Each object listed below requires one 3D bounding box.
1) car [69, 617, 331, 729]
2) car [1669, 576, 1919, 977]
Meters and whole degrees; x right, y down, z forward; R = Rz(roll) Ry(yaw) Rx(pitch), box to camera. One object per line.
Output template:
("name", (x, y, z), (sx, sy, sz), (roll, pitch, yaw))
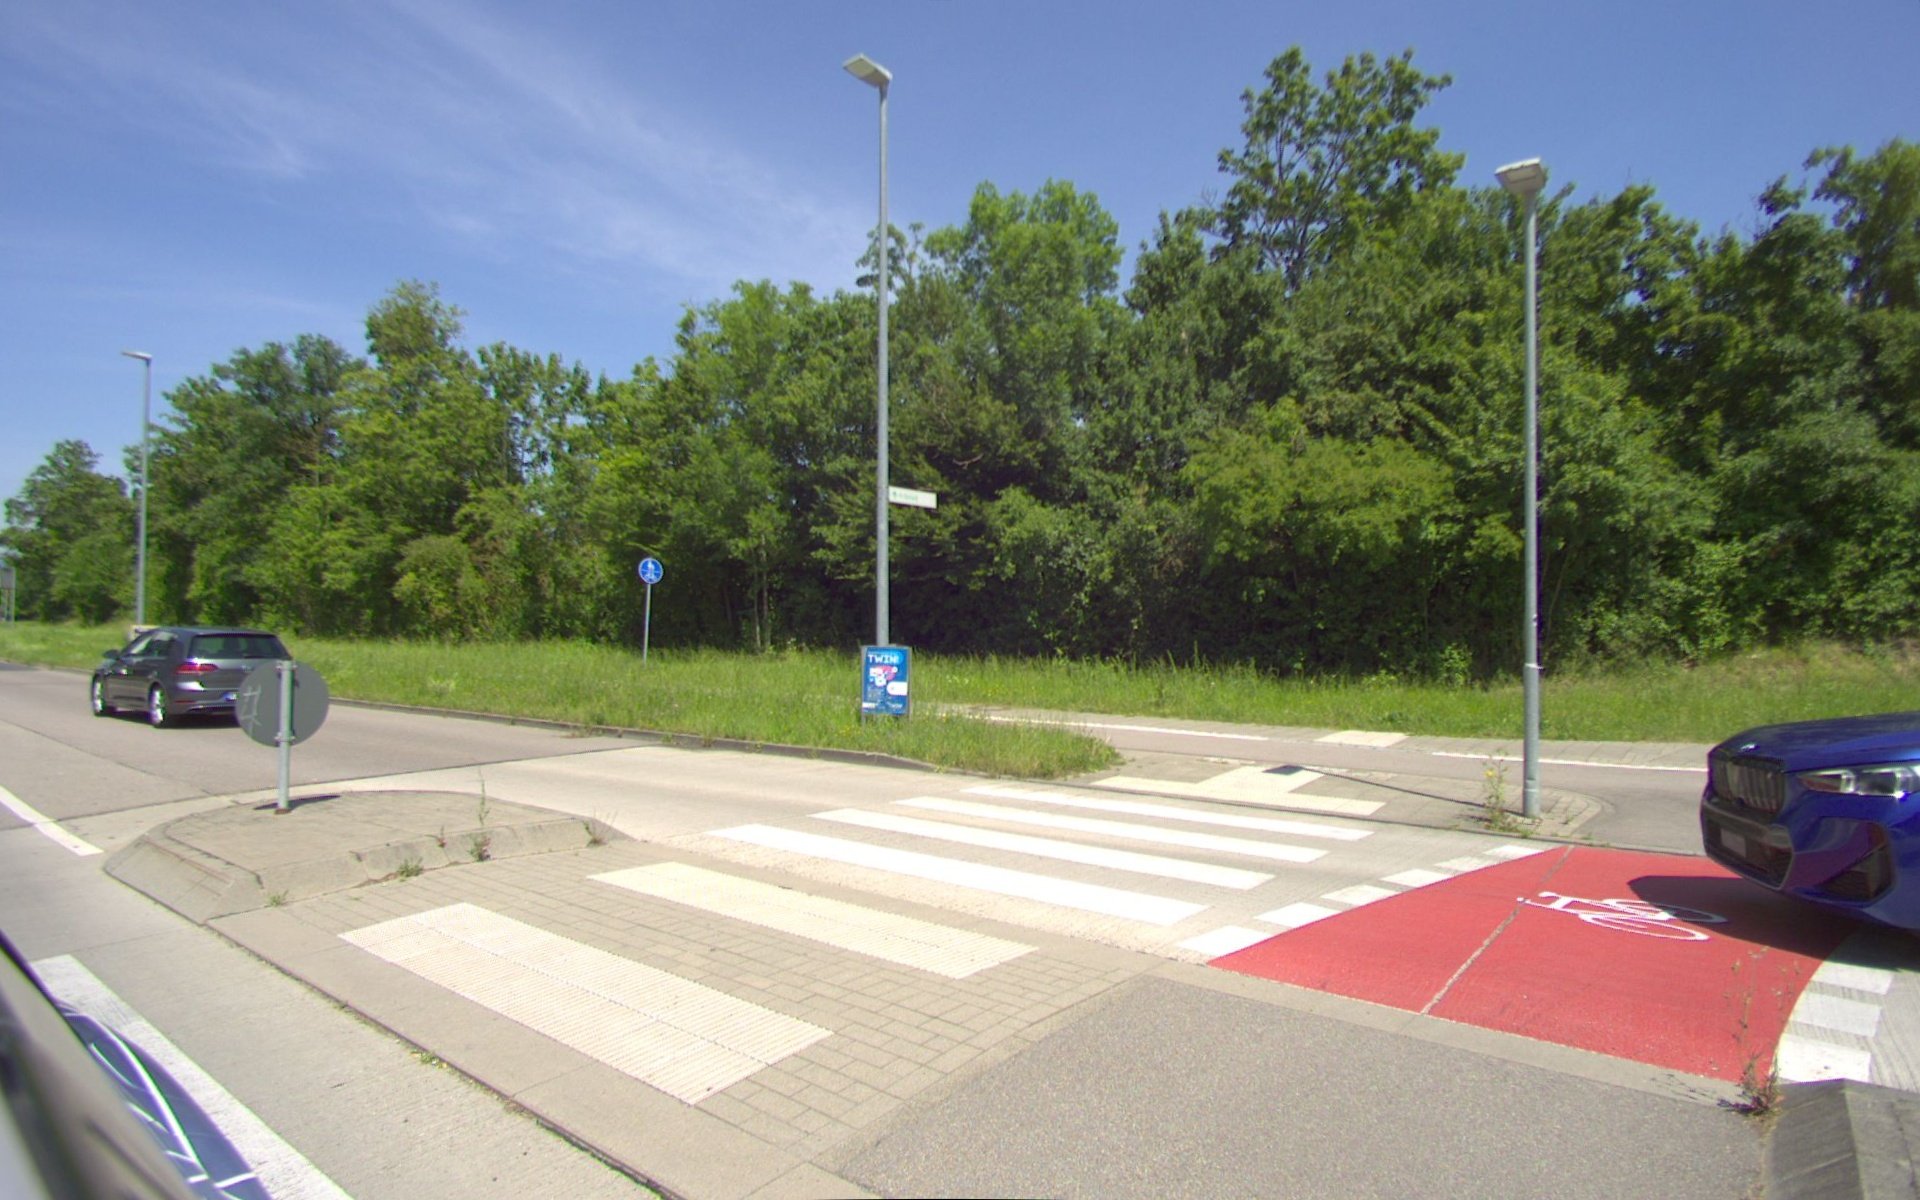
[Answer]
("car", (-11.751, 1.064, 15.580), (4.279, 1.490, 1.976), (-2, -4, 35))
("car", (6.069, 0.706, 4.485), (4.283, 1.608, 1.990), (-1, -3, 16))
